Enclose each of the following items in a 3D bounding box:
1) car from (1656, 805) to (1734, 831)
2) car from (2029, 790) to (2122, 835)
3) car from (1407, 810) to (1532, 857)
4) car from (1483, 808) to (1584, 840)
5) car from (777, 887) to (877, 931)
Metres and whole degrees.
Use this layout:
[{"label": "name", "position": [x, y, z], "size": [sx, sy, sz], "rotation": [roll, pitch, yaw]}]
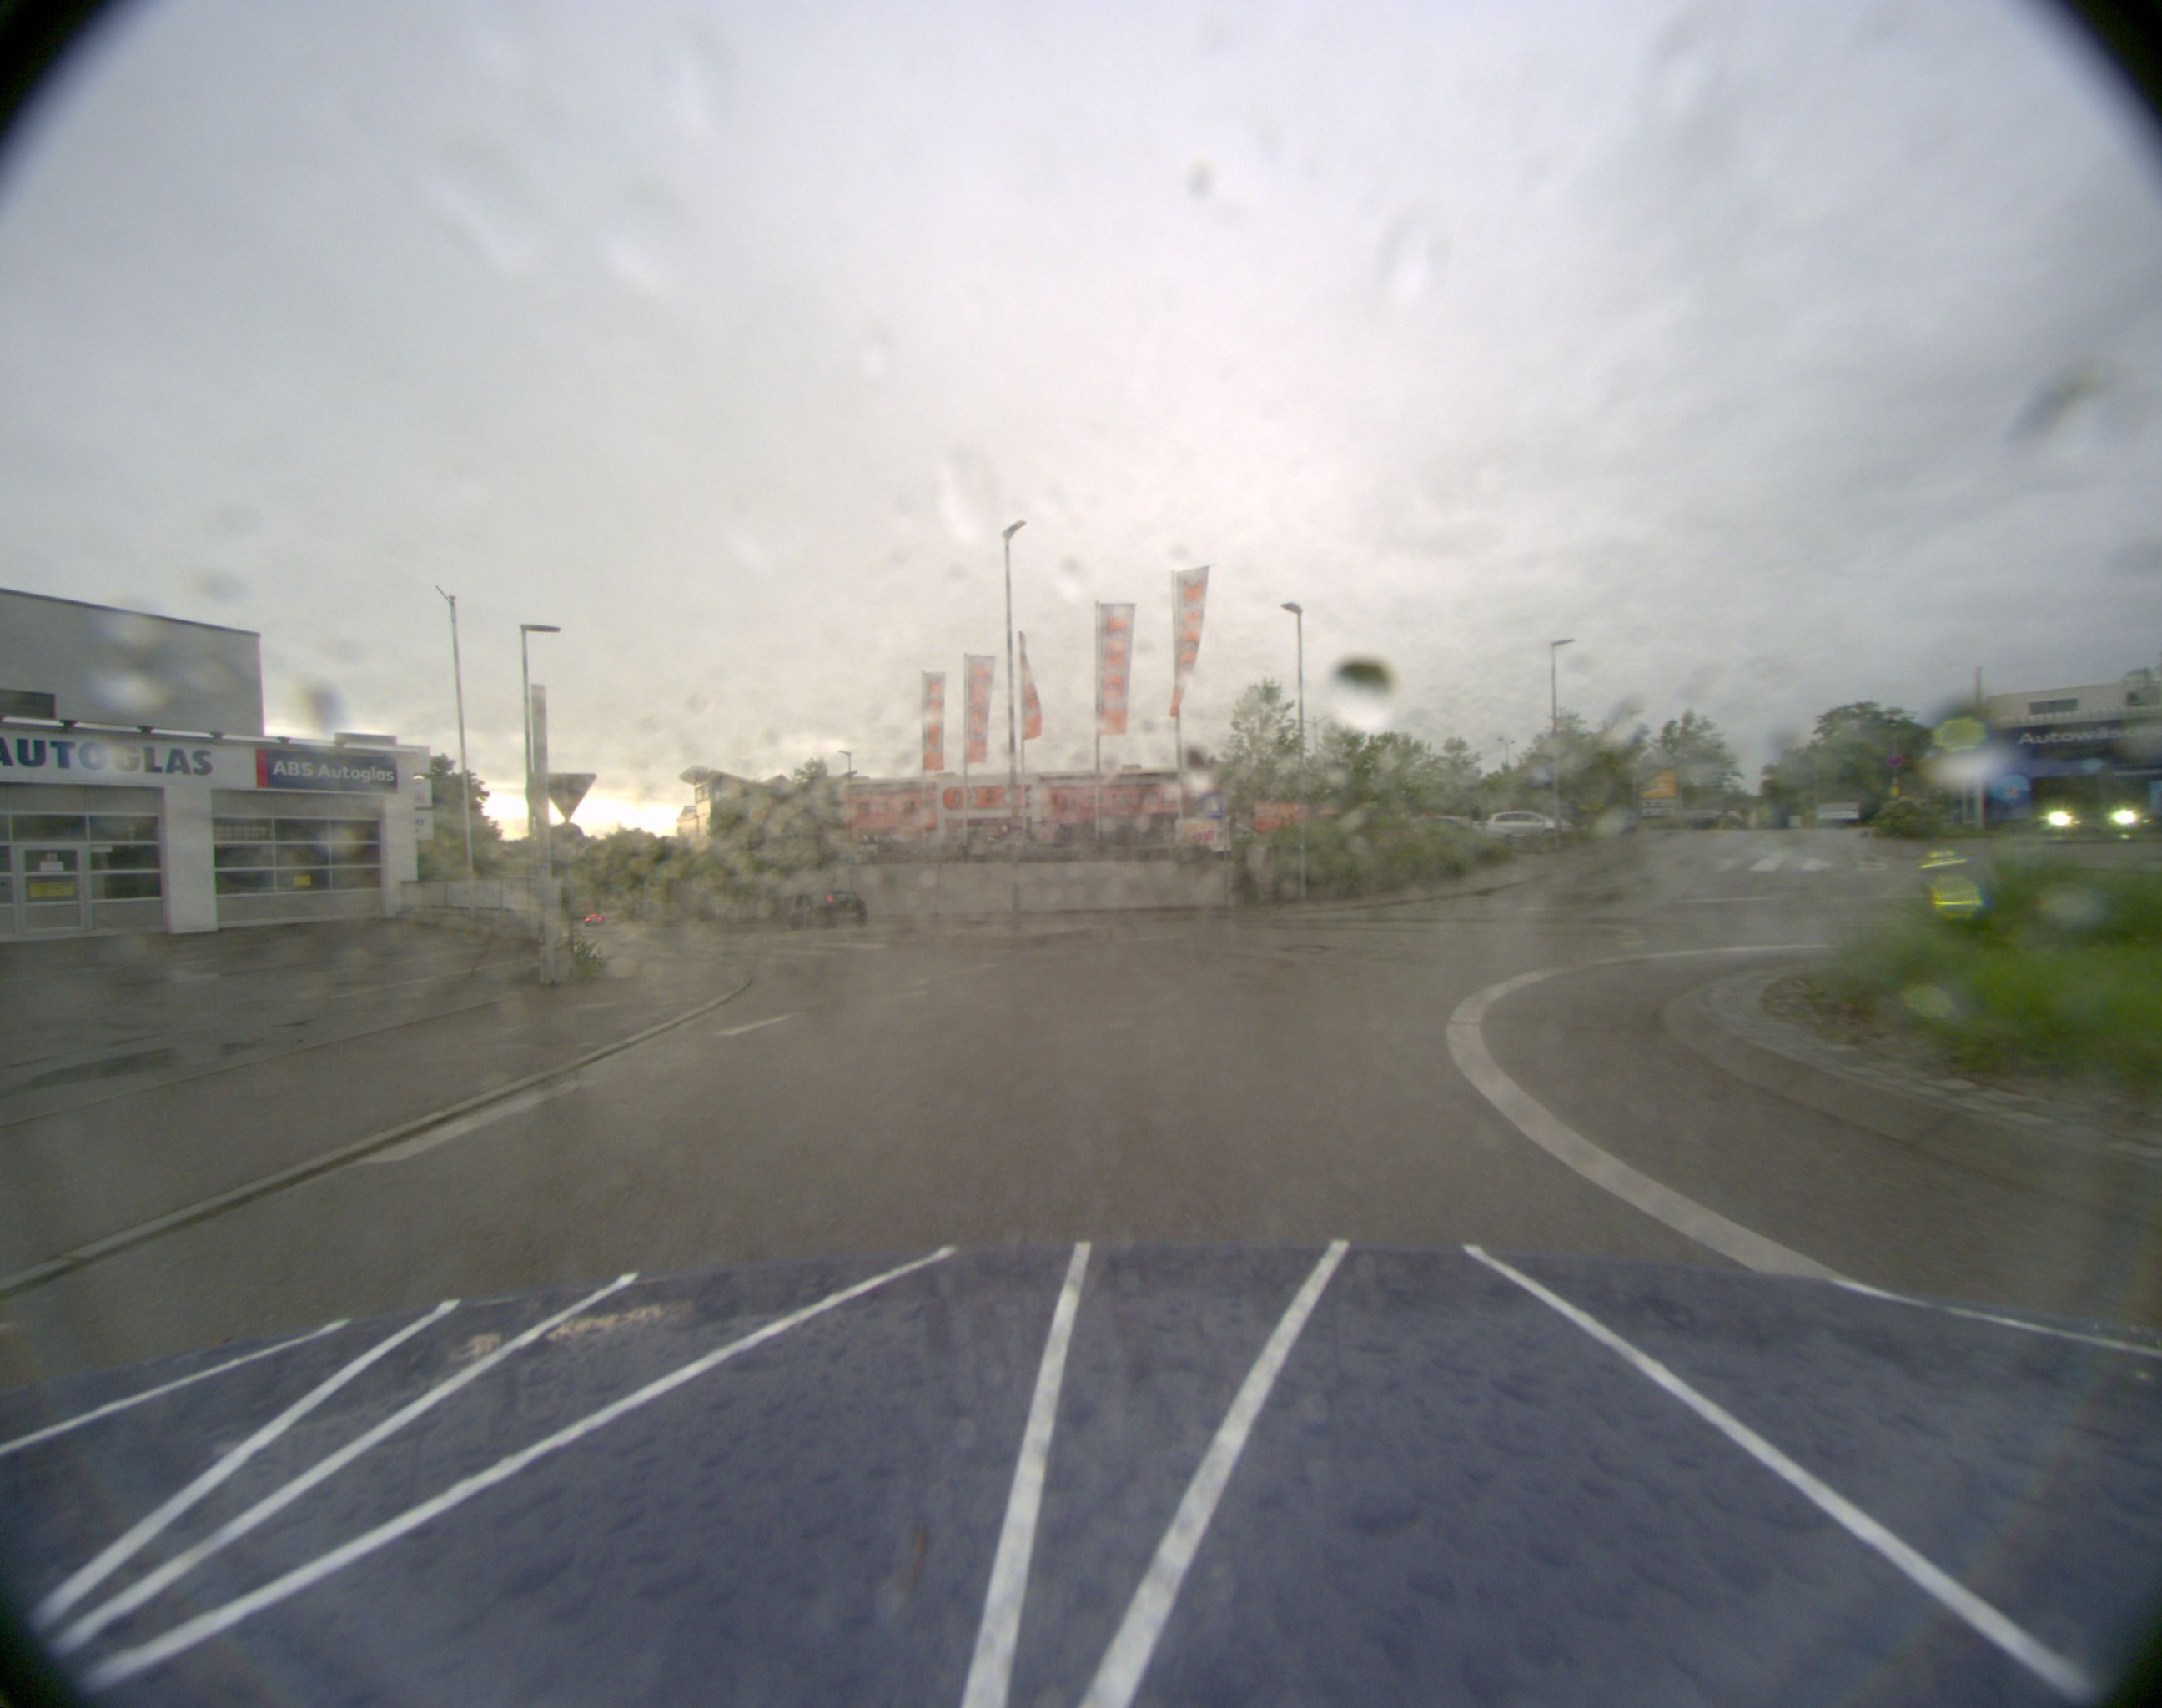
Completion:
[{"label": "car", "position": [43.554, -2.509, 53.932], "size": [2.004, 1.586, 3.989], "rotation": [-2, 0, -42]}, {"label": "car", "position": [38.517, -1.580, 29.524], "size": [4.007, 1.521, 1.917], "rotation": [-2, -1, -40]}, {"label": "car", "position": [16.030, -0.811, 31.510], "size": [2.004, 1.696, 4.095], "rotation": [-2, 0, -39]}, {"label": "car", "position": [23.067, -1.493, 38.848], "size": [2.004, 1.433, 3.989], "rotation": [-2, 0, -42]}, {"label": "car", "position": [-9.875, 2.036, 29.195], "size": [2.003, 1.374, 5.330], "rotation": [-3, 0, -37]}]
